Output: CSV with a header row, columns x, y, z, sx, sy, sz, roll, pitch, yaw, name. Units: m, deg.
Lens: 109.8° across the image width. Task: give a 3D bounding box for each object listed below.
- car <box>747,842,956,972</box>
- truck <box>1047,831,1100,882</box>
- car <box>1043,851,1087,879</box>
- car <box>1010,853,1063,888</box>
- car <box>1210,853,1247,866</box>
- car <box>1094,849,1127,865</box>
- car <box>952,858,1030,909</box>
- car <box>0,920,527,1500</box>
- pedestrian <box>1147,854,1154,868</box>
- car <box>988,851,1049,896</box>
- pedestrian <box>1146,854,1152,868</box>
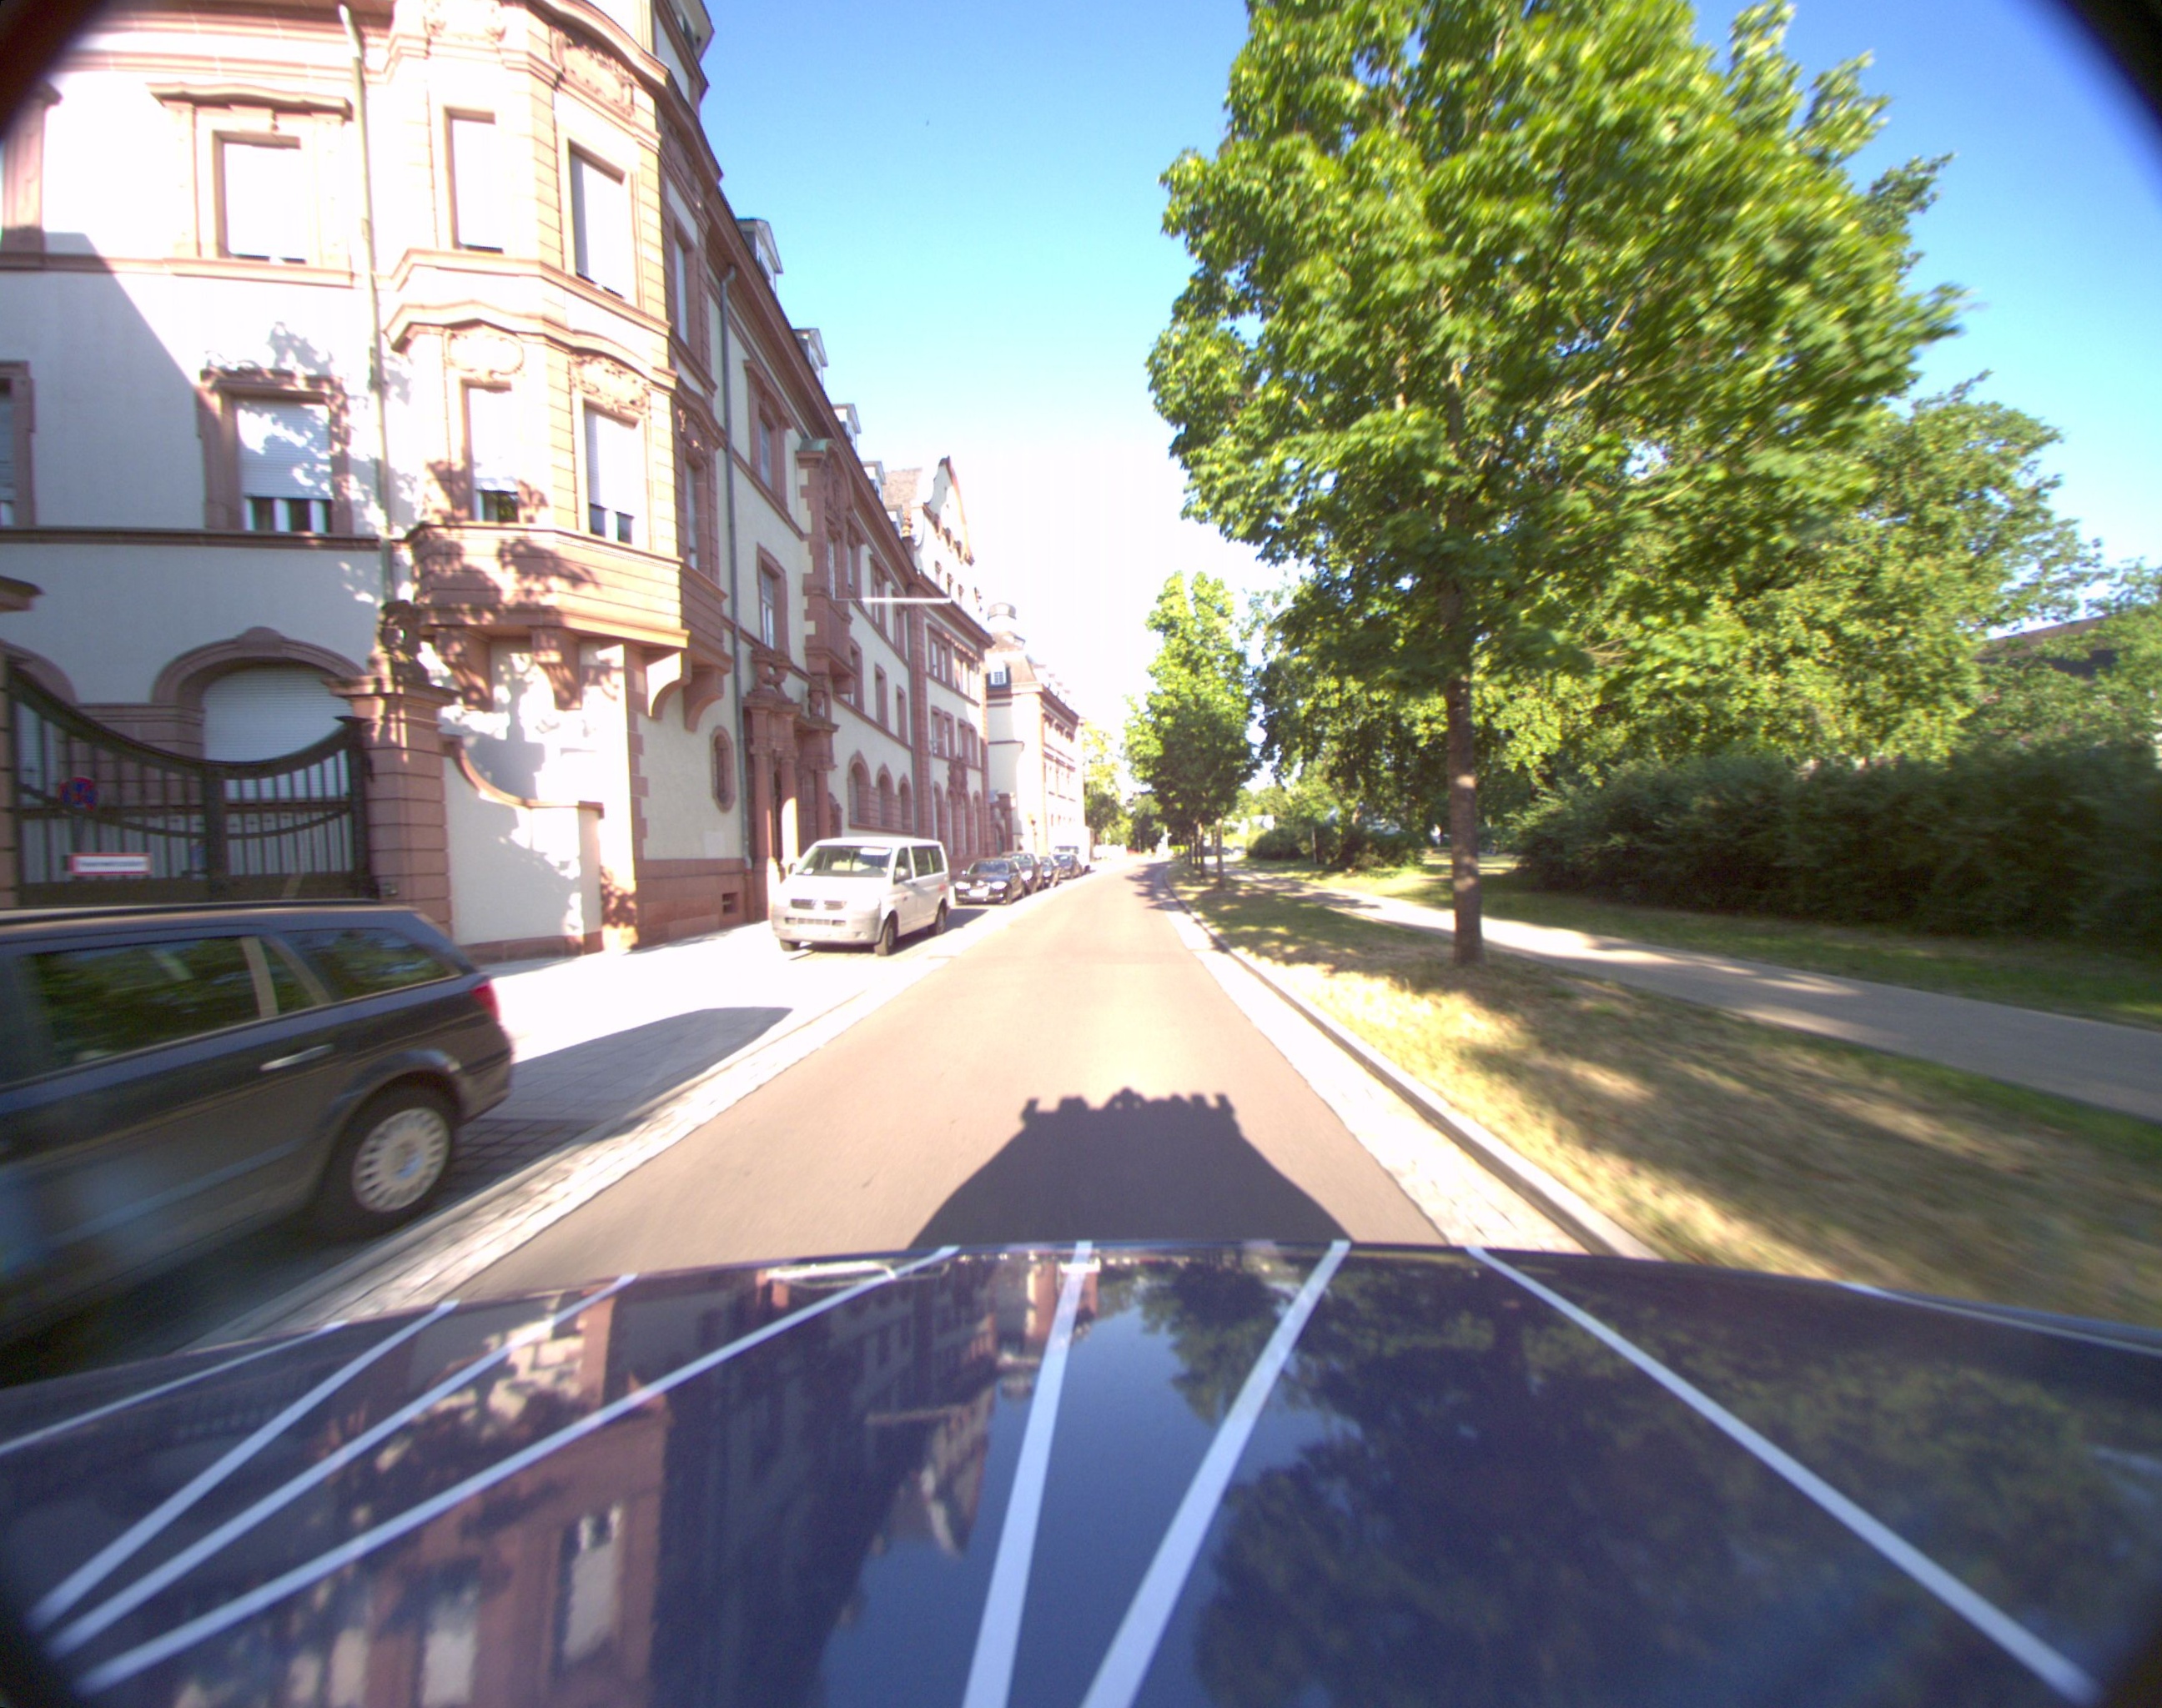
x,y,z,sx,sy,sz,roll,pitch,yaw,name
-3.915,0.797,14.015,1.998,1.954,4.851,1,0,5,car
-0.400,0.153,50.283,2.629,3.102,6.090,-2,0,6,truck
-0.868,0.601,43.992,1.772,1.521,4.575,-2,0,8,car
-1.995,0.718,35.232,1.875,1.428,4.523,-1,1,4,car
20.808,0.732,107.311,4.838,1.549,1.866,-3,1,-9,car
5.652,0.613,145.315,5.911,2.685,2.218,-3,1,-11,car
-2.815,0.879,24.618,1.682,1.395,4.200,-1,1,5,car
-3.980,1.145,1.921,1.752,1.458,4.477,-2,1,1,car
9.159,0.961,100.494,0.716,1.829,0.790,-2,-1,-7,pedestrian
-2.396,0.698,30.112,1.820,1.593,4.193,-1,1,3,car
9.044,1.000,101.265,0.613,1.829,0.726,-2,-1,-7,pedestrian
